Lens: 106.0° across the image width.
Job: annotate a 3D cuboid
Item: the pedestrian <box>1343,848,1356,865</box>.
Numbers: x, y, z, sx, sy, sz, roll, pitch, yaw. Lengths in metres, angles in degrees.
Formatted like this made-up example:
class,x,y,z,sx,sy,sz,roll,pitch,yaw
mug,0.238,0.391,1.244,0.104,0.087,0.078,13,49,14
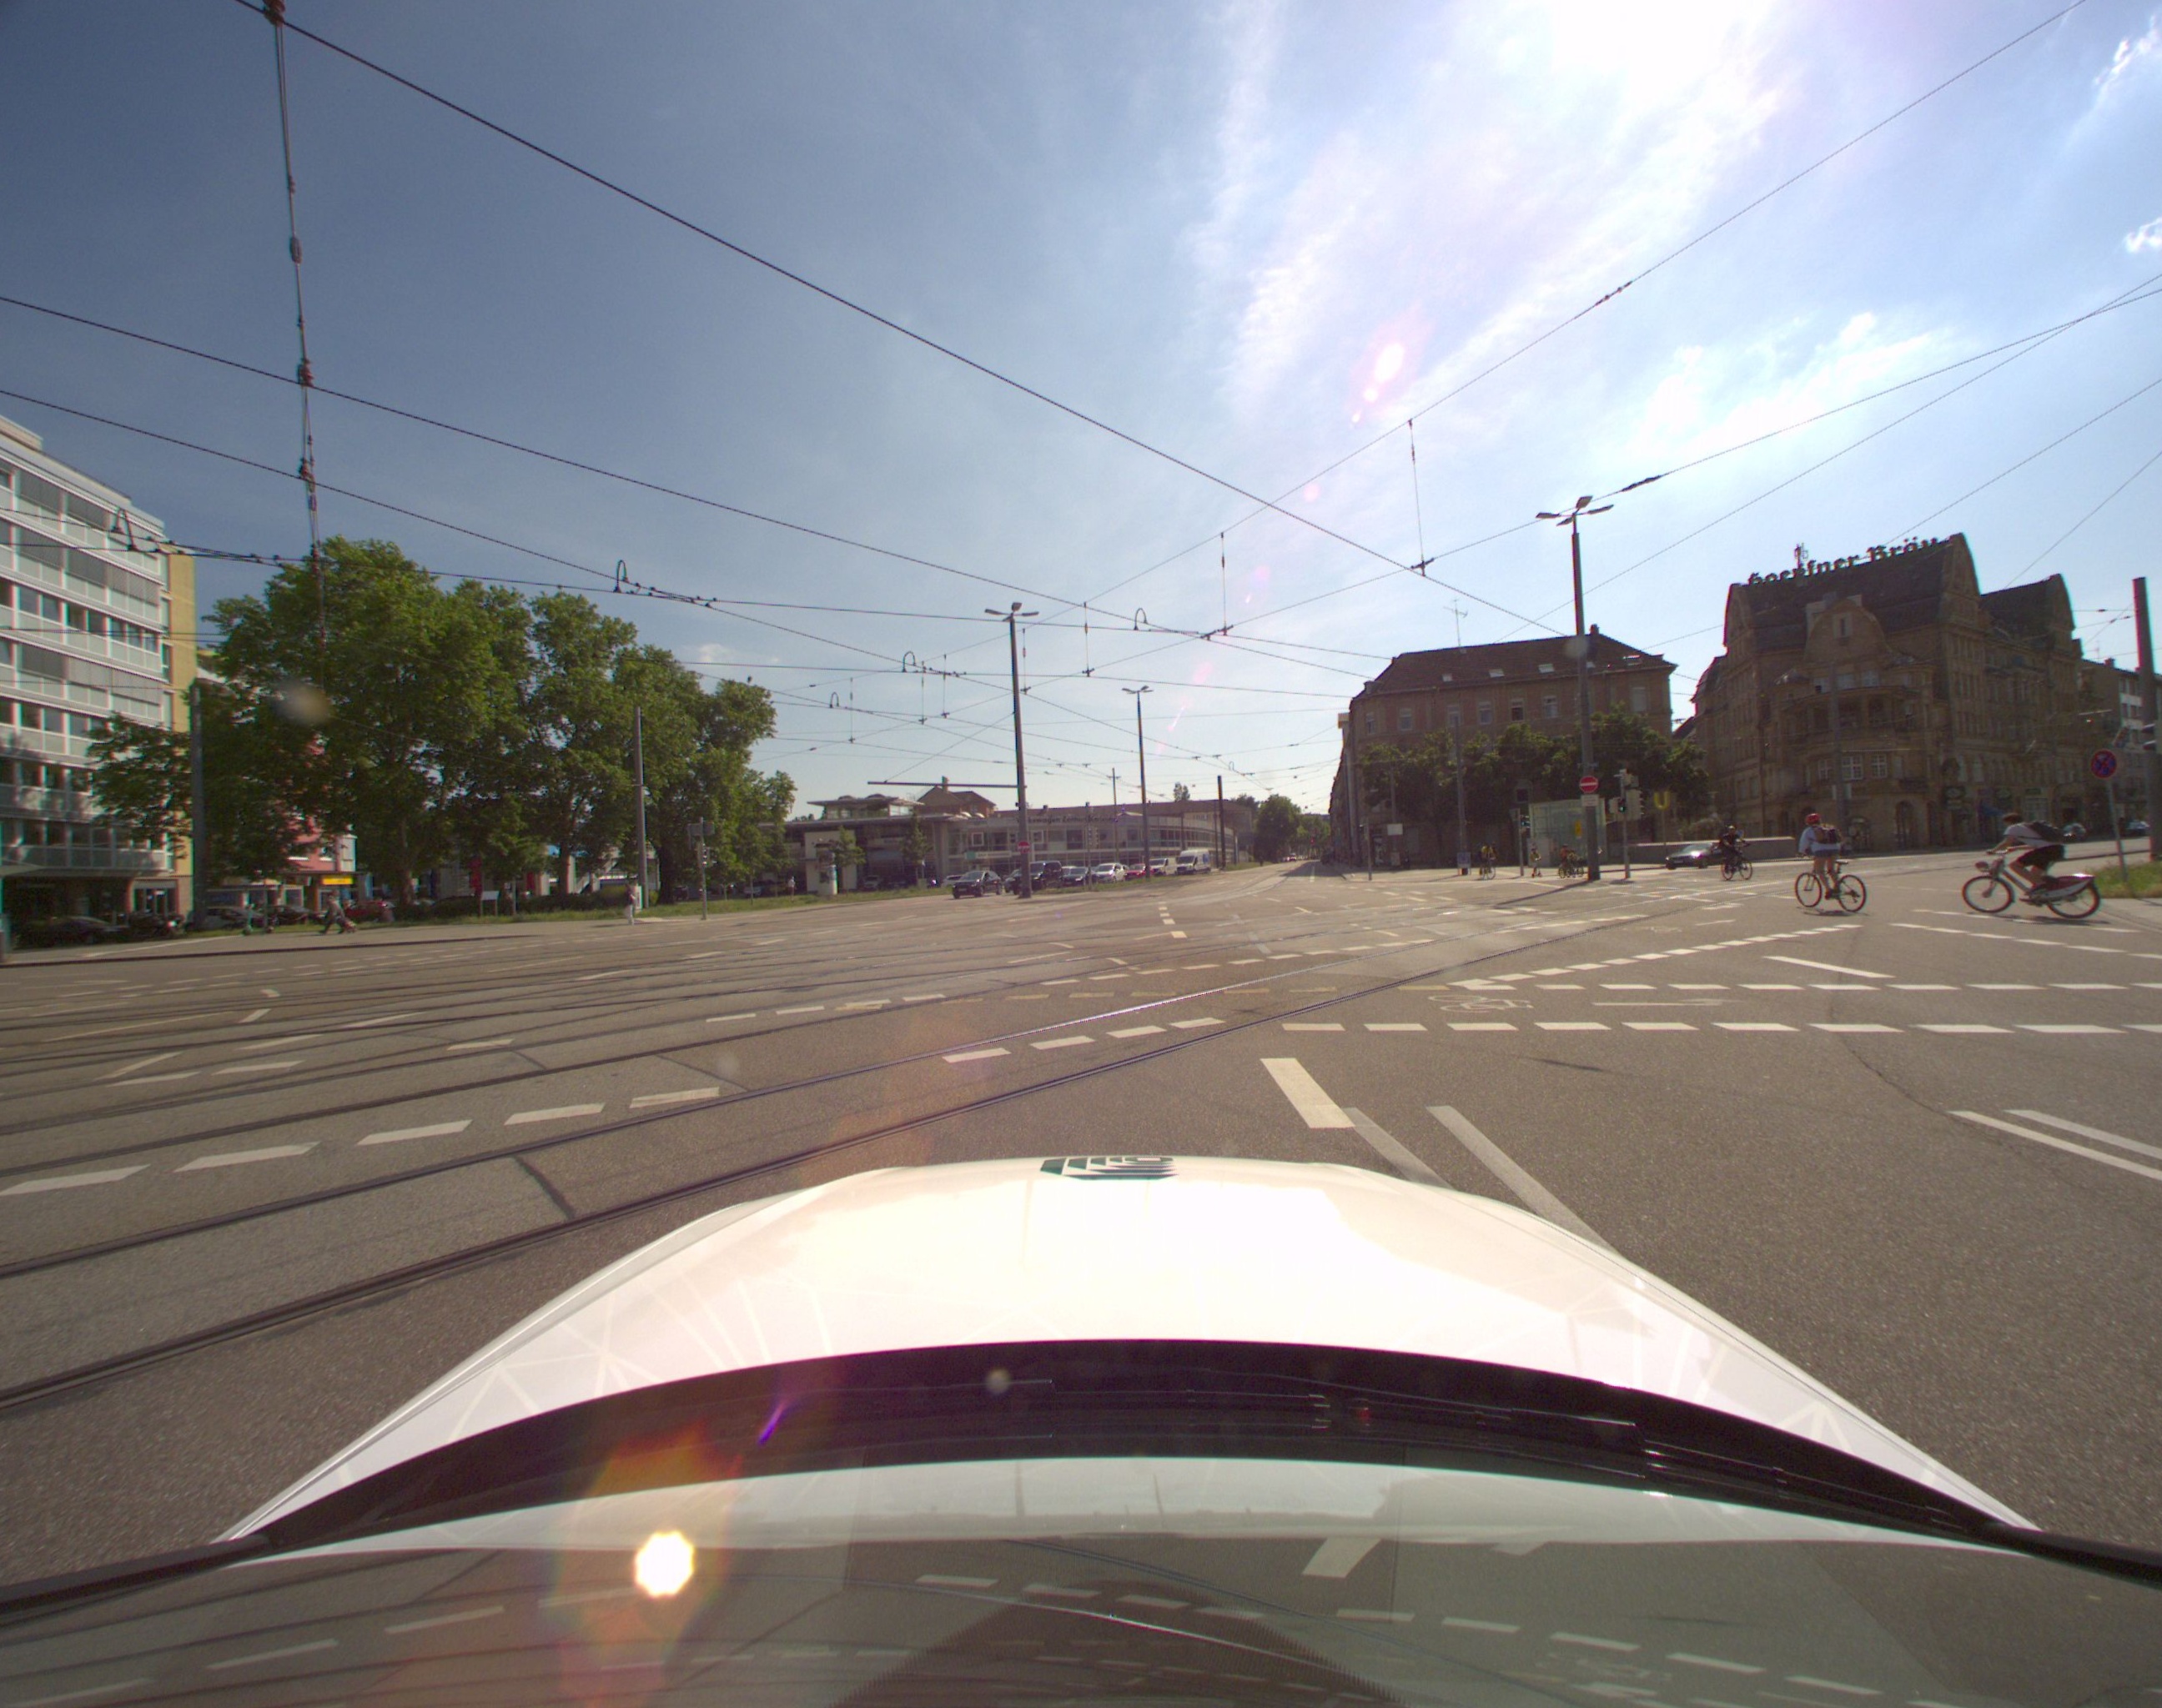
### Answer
class,x,y,z,sx,sy,sz,roll,pitch,yaw
pedestrian,24.586,0.225,74.536,0.716,1.433,0.876,-2,-2,-42

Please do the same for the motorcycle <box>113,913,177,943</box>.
class,x,y,z,sx,sy,sz,roll,pitch,yaw
motorcycle,-36.943,2.902,32.153,2.019,1.062,0.642,-3,-1,9

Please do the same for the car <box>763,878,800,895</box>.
class,x,y,z,sx,sy,sz,roll,pitch,yaw
car,-31.069,3.333,84.646,1.983,1.684,4.007,-1,-2,7

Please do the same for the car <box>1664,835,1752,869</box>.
class,x,y,z,sx,sy,sz,roll,pitch,yaw
car,32.406,-0.108,42.090,3.999,1.584,1.628,-2,-1,-19

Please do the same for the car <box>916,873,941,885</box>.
class,x,y,z,sx,sy,sz,roll,pitch,yaw
car,-15.531,2.575,83.108,1.824,1.195,3.999,0,-1,0

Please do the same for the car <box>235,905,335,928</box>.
class,x,y,z,sx,sy,sz,roll,pitch,yaw
car,-48.584,3.796,49.814,3.994,1.270,1.734,0,-2,-15

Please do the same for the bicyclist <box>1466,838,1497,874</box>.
class,x,y,z,sx,sy,sz,roll,pitch,yaw
bicyclist,20.564,0.119,41.846,0.929,1.820,1.045,0,-2,-20

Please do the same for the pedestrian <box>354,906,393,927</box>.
class,x,y,z,sx,sy,sz,roll,pitch,yaw
pedestrian,-34.395,3.028,39.610,1.175,0.892,0.817,-2,-1,-18

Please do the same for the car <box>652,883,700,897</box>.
class,x,y,z,sx,sy,sz,roll,pitch,yaw
car,-42.417,3.797,85.407,3.973,1.371,2.000,-1,-1,1

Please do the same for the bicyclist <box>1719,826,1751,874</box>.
class,x,y,z,sx,sy,sz,roll,pitch,yaw
bicyclist,22.272,-0.130,27.750,0.661,1.624,0.787,-1,-1,24

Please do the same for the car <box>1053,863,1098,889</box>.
class,x,y,z,sx,sy,sz,roll,pitch,yaw
car,-0.305,1.479,53.991,1.880,1.588,4.016,-3,-2,16

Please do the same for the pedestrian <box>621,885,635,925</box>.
class,x,y,z,sx,sy,sz,roll,pitch,yaw
pedestrian,-18.425,2.064,33.121,0.456,1.605,0.396,1,-2,-35

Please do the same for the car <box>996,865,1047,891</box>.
class,x,y,z,sx,sy,sz,roll,pitch,yaw
car,-3.873,1.552,53.707,1.879,1.588,4.019,-3,-2,19

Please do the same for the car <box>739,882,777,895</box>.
class,x,y,z,sx,sy,sz,roll,pitch,yaw
car,-33.428,3.570,84.290,1.983,1.244,4.007,-1,-1,7

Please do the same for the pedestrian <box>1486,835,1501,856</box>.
class,x,y,z,sx,sy,sz,roll,pitch,yaw
pedestrian,29.183,-0.593,57.624,0.616,1.433,0.705,1,-2,-36

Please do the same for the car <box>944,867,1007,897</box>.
class,x,y,z,sx,sy,sz,roll,pitch,yaw
car,-6.024,1.613,46.931,1.876,1.588,4.230,-3,-2,19

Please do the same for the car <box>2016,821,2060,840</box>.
class,x,y,z,sx,sy,sz,roll,pitch,yaw
car,76.472,-1.846,65.072,3.594,1.345,1.623,-2,-1,-30

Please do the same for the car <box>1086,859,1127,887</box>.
class,x,y,z,sx,sy,sz,roll,pitch,yaw
car,1.944,1.424,61.246,1.879,1.917,4.220,-3,-2,18

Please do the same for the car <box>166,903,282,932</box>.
class,x,y,z,sx,sy,sz,roll,pitch,yaw
car,-47.693,3.498,45.398,3.994,1.440,1.881,0,-2,-15

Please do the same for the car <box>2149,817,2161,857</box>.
class,x,y,z,sx,sy,sz,roll,pitch,yaw
car,37.954,-0.656,27.677,3.465,1.313,1.655,-2,-1,-32

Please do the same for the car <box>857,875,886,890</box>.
class,x,y,z,sx,sy,sz,roll,pitch,yaw
car,-21.465,2.920,83.631,1.987,1.486,3.999,-1,-1,0

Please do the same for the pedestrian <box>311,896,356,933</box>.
class,x,y,z,sx,sy,sz,roll,pitch,yaw
pedestrian,-29.537,2.366,32.210,1.117,1.404,0.652,0,-2,-21

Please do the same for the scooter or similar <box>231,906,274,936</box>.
class,x,y,z,sx,sy,sz,roll,pitch,yaw
scooter or similar,-33.297,2.681,32.734,1.351,1.119,0.519,-3,-1,11

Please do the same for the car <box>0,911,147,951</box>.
class,x,y,z,sx,sy,sz,roll,pitch,yaw
car,-44.548,3.380,35.950,4.087,1.471,1.650,-2,-4,-16

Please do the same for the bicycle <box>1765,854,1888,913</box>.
class,x,y,z,sx,sy,sz,roll,pitch,yaw
bicycle,14.386,0.548,15.808,0.710,1.015,2.026,-5,-1,10

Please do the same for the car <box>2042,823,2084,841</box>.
class,x,y,z,sx,sy,sz,roll,pitch,yaw
car,82.916,-1.824,68.743,3.621,1.345,1.623,-2,-1,-30

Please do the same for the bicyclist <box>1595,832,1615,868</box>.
class,x,y,z,sx,sy,sz,roll,pitch,yaw
bicyclist,23.896,-0.181,37.142,0.497,1.621,0.651,-1,-1,7

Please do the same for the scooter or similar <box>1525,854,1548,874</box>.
class,x,y,z,sx,sy,sz,roll,pitch,yaw
scooter or similar,22.395,0.513,40.065,0.584,0.976,0.992,-1,-2,1

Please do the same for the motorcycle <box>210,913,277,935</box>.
class,x,y,z,sx,sy,sz,roll,pitch,yaw
motorcycle,-38.079,3.162,37.054,0.632,0.842,2.051,-3,-1,35

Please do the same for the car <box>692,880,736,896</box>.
class,x,y,z,sx,sy,sz,roll,pitch,yaw
car,-41.041,3.769,91.101,3.974,1.508,1.999,-3,-1,0

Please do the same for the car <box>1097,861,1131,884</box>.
class,x,y,z,sx,sy,sz,roll,pitch,yaw
car,2.977,1.649,72.691,1.792,1.846,4.220,-3,-2,18

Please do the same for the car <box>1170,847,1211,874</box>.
class,x,y,z,sx,sy,sz,roll,pitch,yaw
car,11.071,0.659,82.151,2.188,2.576,5.910,-2,-2,28

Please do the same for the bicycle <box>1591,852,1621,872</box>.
class,x,y,z,sx,sy,sz,roll,pitch,yaw
bicycle,23.896,0.373,37.072,0.497,0.866,1.590,-1,-1,7

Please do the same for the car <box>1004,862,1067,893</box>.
class,x,y,z,sx,sy,sz,roll,pitch,yaw
car,-2.566,1.322,47.484,1.945,1.588,4.739,-3,-1,19

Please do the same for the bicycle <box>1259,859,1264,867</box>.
class,x,y,z,sx,sy,sz,roll,pitch,yaw
bicycle,31.410,1.569,141.588,0.746,1.195,2.850,-1,-2,15

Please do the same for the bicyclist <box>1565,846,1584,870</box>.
class,x,y,z,sx,sy,sz,roll,pitch,yaw
bicyclist,21.869,0.168,36.090,0.498,1.029,0.605,-1,-1,0

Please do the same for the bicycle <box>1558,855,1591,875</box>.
class,x,y,z,sx,sy,sz,roll,pitch,yaw
bicycle,21.870,0.469,36.121,0.498,0.866,1.587,-1,-1,0

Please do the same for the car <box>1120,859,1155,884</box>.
class,x,y,z,sx,sy,sz,roll,pitch,yaw
car,4.775,1.478,68.093,1.879,1.917,4.220,-3,-2,18

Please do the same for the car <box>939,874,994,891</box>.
class,x,y,z,sx,sy,sz,roll,pitch,yaw
car,-9.918,2.464,70.521,4.550,1.436,1.450,-1,-2,15

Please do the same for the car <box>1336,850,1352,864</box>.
class,x,y,z,sx,sy,sz,roll,pitch,yaw
car,38.688,0.452,119.960,1.979,2.014,4.014,-1,-2,14

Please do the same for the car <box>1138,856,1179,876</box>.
class,x,y,z,sx,sy,sz,roll,pitch,yaw
car,7.188,1.051,75.152,2.165,1.680,5.057,-3,-1,24

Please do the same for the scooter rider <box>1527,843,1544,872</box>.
class,x,y,z,sx,sy,sz,roll,pitch,yaw
scooter rider,22.392,0.169,40.146,0.584,1.397,0.407,-1,-2,1

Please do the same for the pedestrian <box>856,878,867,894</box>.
class,x,y,z,sx,sy,sz,roll,pitch,yaw
pedestrian,-21.424,3.110,79.474,0.951,1.580,0.534,-1,-2,-2

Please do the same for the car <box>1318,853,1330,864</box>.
class,x,y,z,sx,sy,sz,roll,pitch,yaw
car,44.081,0.813,147.709,2.092,2.014,4.016,-1,-2,16

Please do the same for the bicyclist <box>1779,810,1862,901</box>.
class,x,y,z,sx,sy,sz,roll,pitch,yaw
bicyclist,14.335,0.038,15.814,0.710,1.669,0.877,-5,-2,9

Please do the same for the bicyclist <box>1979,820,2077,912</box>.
class,x,y,z,sx,sy,sz,roll,pitch,yaw
bicyclist,15.946,0.211,13.724,0.719,1.488,0.940,1,-2,-32

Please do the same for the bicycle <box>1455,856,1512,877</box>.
class,x,y,z,sx,sy,sz,roll,pitch,yaw
bicycle,20.575,0.656,41.706,0.929,1.069,2.728,0,-2,-20

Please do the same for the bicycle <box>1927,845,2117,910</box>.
class,x,y,z,sx,sy,sz,roll,pitch,yaw
bicycle,15.890,0.401,13.818,0.719,1.015,2.000,1,-2,-33

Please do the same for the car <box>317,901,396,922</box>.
class,x,y,z,sx,sy,sz,roll,pitch,yaw
car,-51.016,4.026,57.396,3.730,1.340,1.734,0,-2,-15

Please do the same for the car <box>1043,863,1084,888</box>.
class,x,y,z,sx,sy,sz,roll,pitch,yaw
car,-1.250,1.600,60.982,1.638,1.739,4.220,-3,-2,18

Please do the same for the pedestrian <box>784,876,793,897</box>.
class,x,y,z,sx,sy,sz,roll,pitch,yaw
pedestrian,-22.421,2.472,62.411,0.388,1.596,0.466,-1,-2,25

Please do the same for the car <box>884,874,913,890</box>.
class,x,y,z,sx,sy,sz,roll,pitch,yaw
car,-18.693,2.859,83.551,1.987,1.486,3.999,-1,-1,0

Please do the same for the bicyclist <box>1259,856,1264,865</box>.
class,x,y,z,sx,sy,sz,roll,pitch,yaw
bicyclist,31.422,1.168,141.649,0.746,1.568,1.091,-1,-2,15

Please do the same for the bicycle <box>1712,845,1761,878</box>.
class,x,y,z,sx,sy,sz,roll,pitch,yaw
bicycle,22.230,0.234,27.666,0.661,1.069,2.477,-1,0,24
